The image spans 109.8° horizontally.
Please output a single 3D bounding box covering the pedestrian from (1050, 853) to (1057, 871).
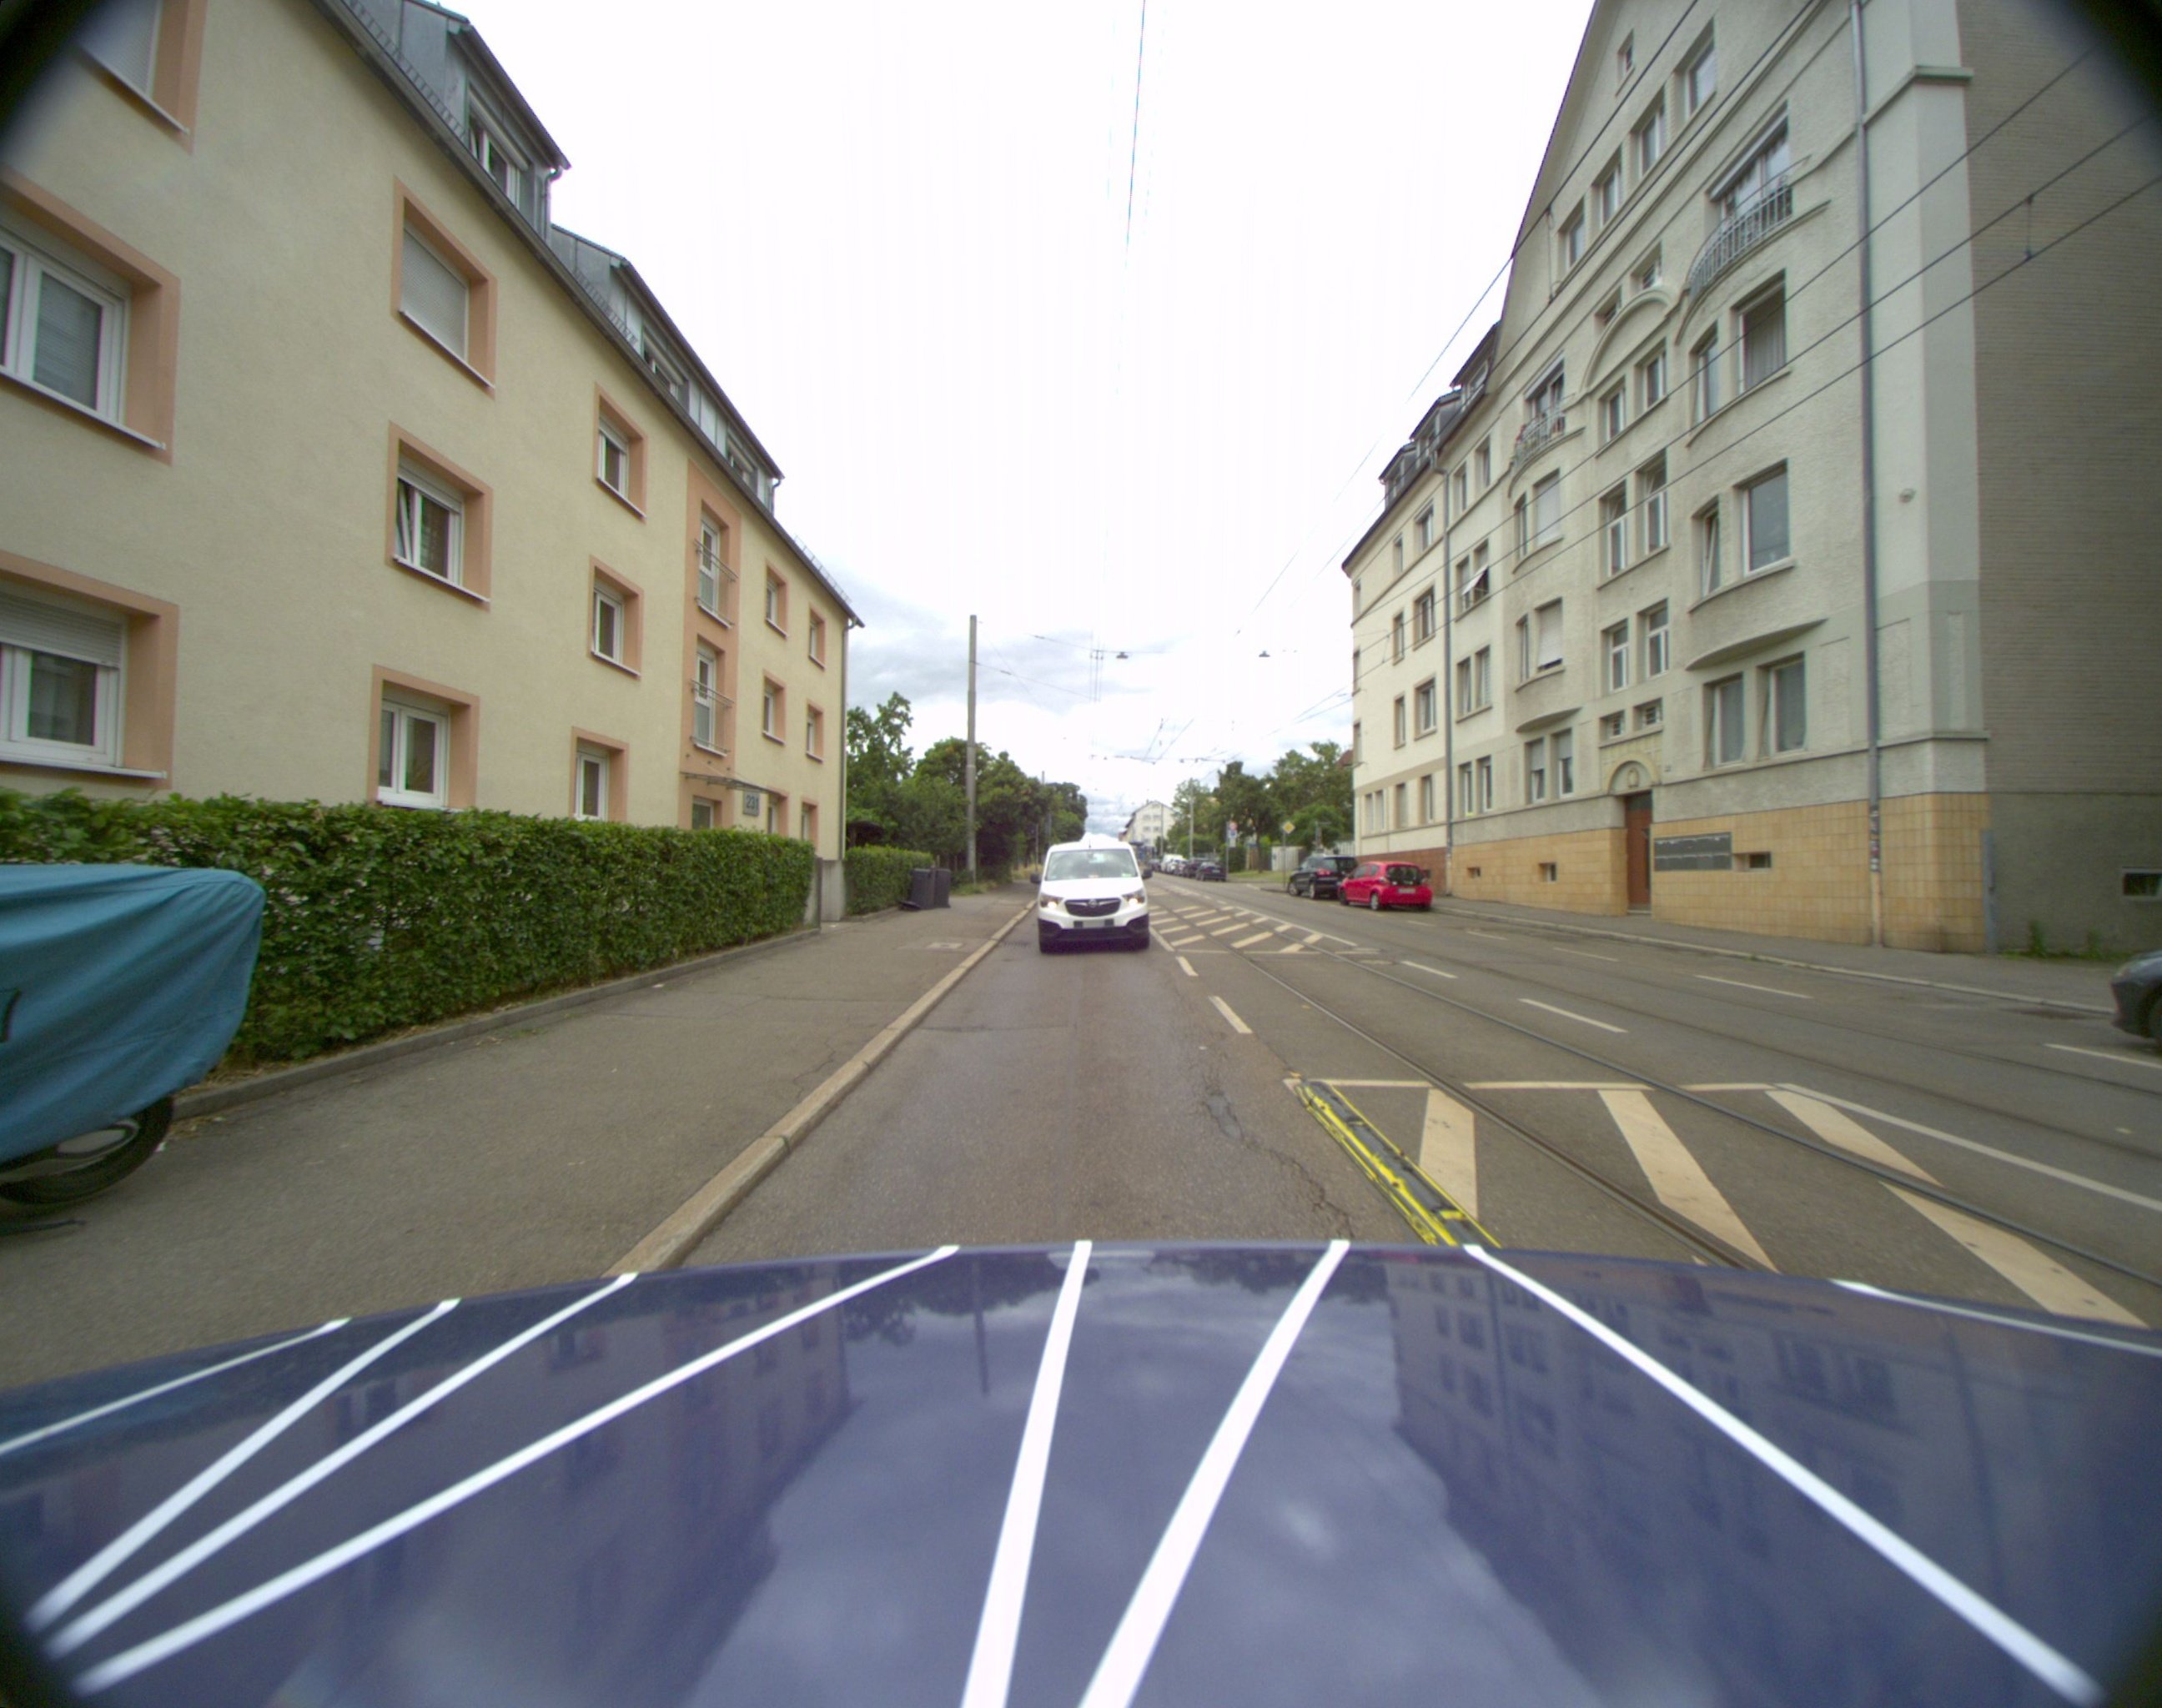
[{"bbox_3d":[-2.615,0.757,72.396,0.716,1.611,0.718,0,1,1],"label":"pedestrian"}]

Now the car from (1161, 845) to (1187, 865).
[{"bbox_3d":[9.520,0.053,77.865,1.974,1.902,4.733,1,1,-1],"label":"car"}]

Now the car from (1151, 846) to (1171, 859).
[{"bbox_3d":[9.403,-0.198,90.110,1.844,1.379,4.439,1,1,-1],"label":"car"}]

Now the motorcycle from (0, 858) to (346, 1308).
[{"bbox_3d":[-3.948,0.757,2.329,0.840,1.448,2.552,0,1,1],"label":"motorcycle"}]

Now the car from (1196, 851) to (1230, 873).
[{"bbox_3d":[9.308,0.530,54.007,1.625,1.469,4.155,1,1,-1],"label":"car"}]

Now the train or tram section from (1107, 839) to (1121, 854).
[{"bbox_3d":[7.778,-1.790,179.677,2.857,3.615,12.128,0,1,0],"label":"train or tram section"}]

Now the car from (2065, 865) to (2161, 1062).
[{"bbox_3d":[8.924,0.869,4.213,1.625,1.455,4.031,1,1,-1],"label":"car"}]

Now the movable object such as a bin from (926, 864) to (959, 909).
[{"bbox_3d":[-3.814,0.890,20.973,0.794,1.211,0.789,0,1,-3],"label":"movable object such as a bin"}]

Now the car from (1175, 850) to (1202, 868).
[{"bbox_3d":[9.429,0.429,66.636,1.743,1.500,3.868,1,1,-1],"label":"car"}]

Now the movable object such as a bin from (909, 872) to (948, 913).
[{"bbox_3d":[-3.863,0.965,19.334,0.794,1.006,0.789,0,1,3],"label":"movable object such as a bin"}]

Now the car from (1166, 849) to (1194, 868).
[{"bbox_3d":[9.417,0.405,72.409,1.974,1.677,4.632,1,1,-1],"label":"car"}]

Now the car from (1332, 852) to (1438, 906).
[{"bbox_3d":[9.257,0.717,23.469,1.625,1.455,3.744,1,1,-2],"label":"car"}]

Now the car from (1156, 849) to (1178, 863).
[{"bbox_3d":[9.427,0.236,83.712,1.844,1.379,4.516,1,1,-1],"label":"car"}]

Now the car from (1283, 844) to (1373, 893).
[{"bbox_3d":[9.180,0.485,28.656,1.872,1.636,4.401,1,1,-1],"label":"car"}]

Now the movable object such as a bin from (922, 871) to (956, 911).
[{"bbox_3d":[-3.767,0.969,20.162,0.794,1.006,0.789,0,1,-3],"label":"movable object such as a bin"}]

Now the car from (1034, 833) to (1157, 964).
[{"bbox_3d":[0.258,0.618,12.897,1.730,1.850,4.420,0,0,1],"label":"car"}]

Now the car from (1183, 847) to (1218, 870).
[{"bbox_3d":[9.463,0.299,60.340,1.974,1.677,4.443,1,1,-1],"label":"car"}]
